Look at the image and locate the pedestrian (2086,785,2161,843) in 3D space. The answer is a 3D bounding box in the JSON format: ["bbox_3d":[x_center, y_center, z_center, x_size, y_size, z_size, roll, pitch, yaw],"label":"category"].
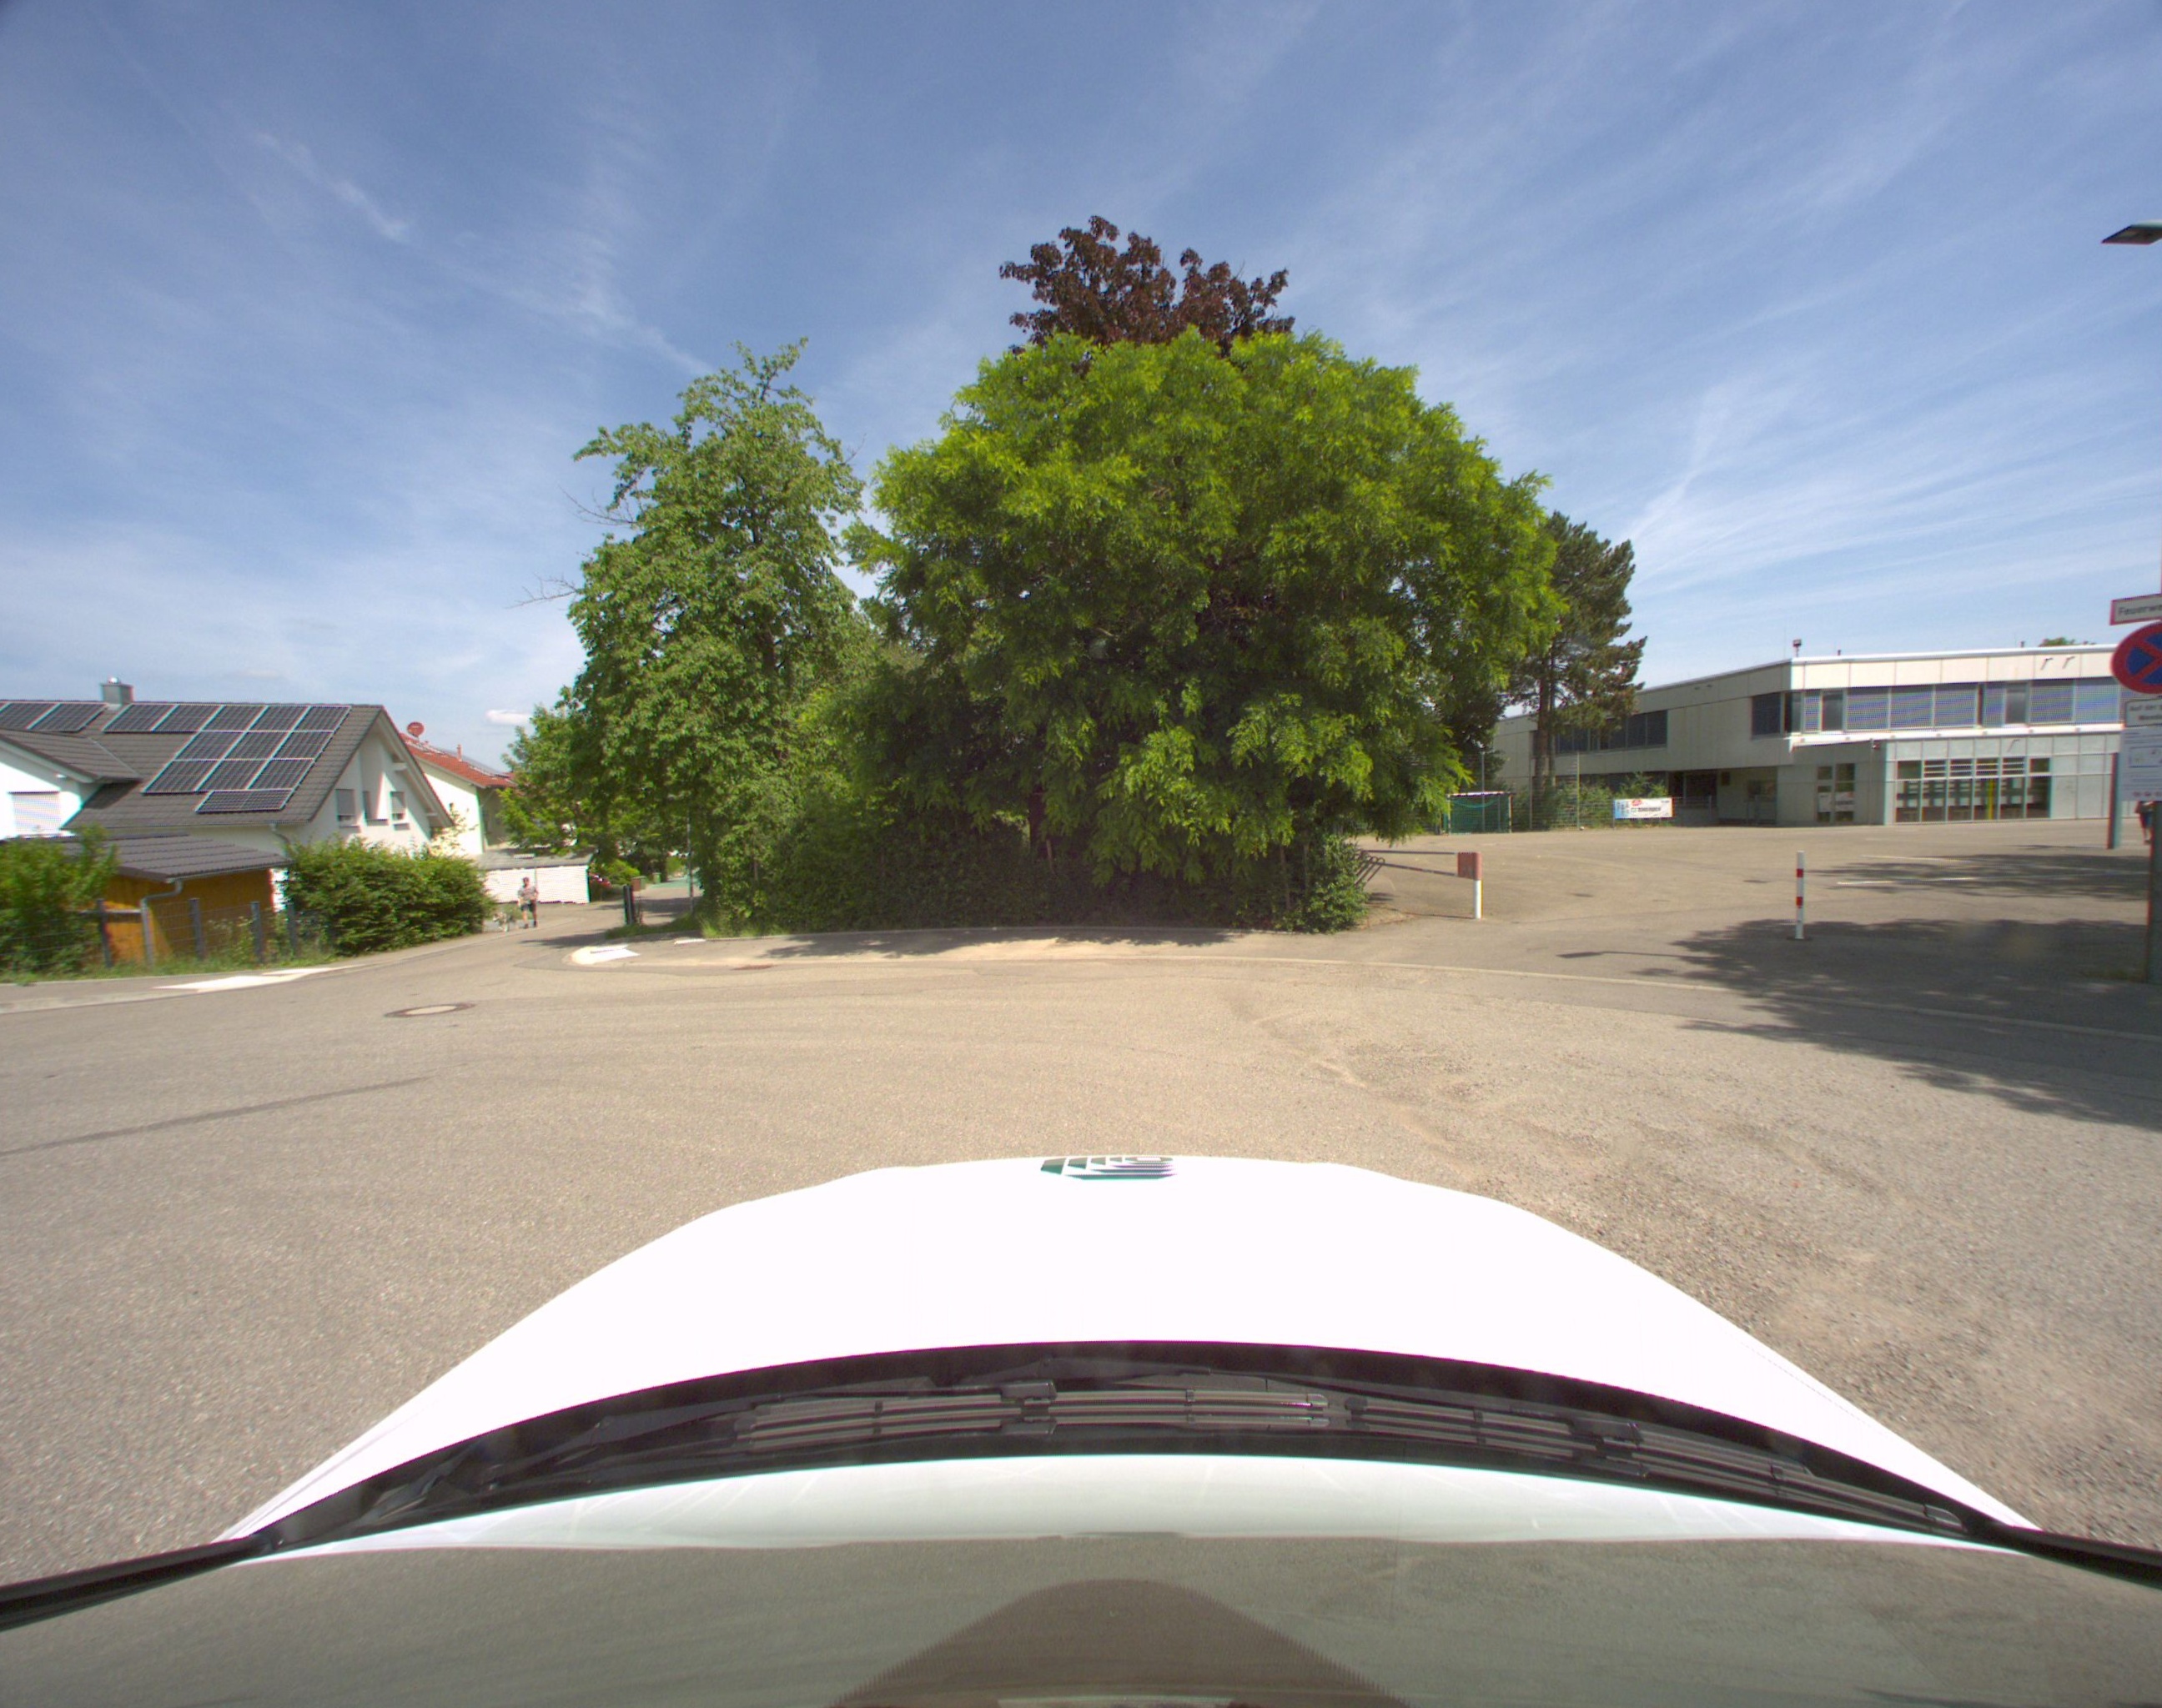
[{"bbox_3d":[26.804,-1.025,20.849,0.918,1.423,1.064,-2,3,-15],"label":"pedestrian"}]

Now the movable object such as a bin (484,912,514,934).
[{"bbox_3d":[-18.980,2.242,26.573,0.550,0.629,1.013,-2,-2,-22],"label":"movable object such as a bin"}]

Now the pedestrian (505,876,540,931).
[{"bbox_3d":[-19.448,1.729,28.367,0.851,1.820,0.827,-2,-3,-29],"label":"pedestrian"}]
